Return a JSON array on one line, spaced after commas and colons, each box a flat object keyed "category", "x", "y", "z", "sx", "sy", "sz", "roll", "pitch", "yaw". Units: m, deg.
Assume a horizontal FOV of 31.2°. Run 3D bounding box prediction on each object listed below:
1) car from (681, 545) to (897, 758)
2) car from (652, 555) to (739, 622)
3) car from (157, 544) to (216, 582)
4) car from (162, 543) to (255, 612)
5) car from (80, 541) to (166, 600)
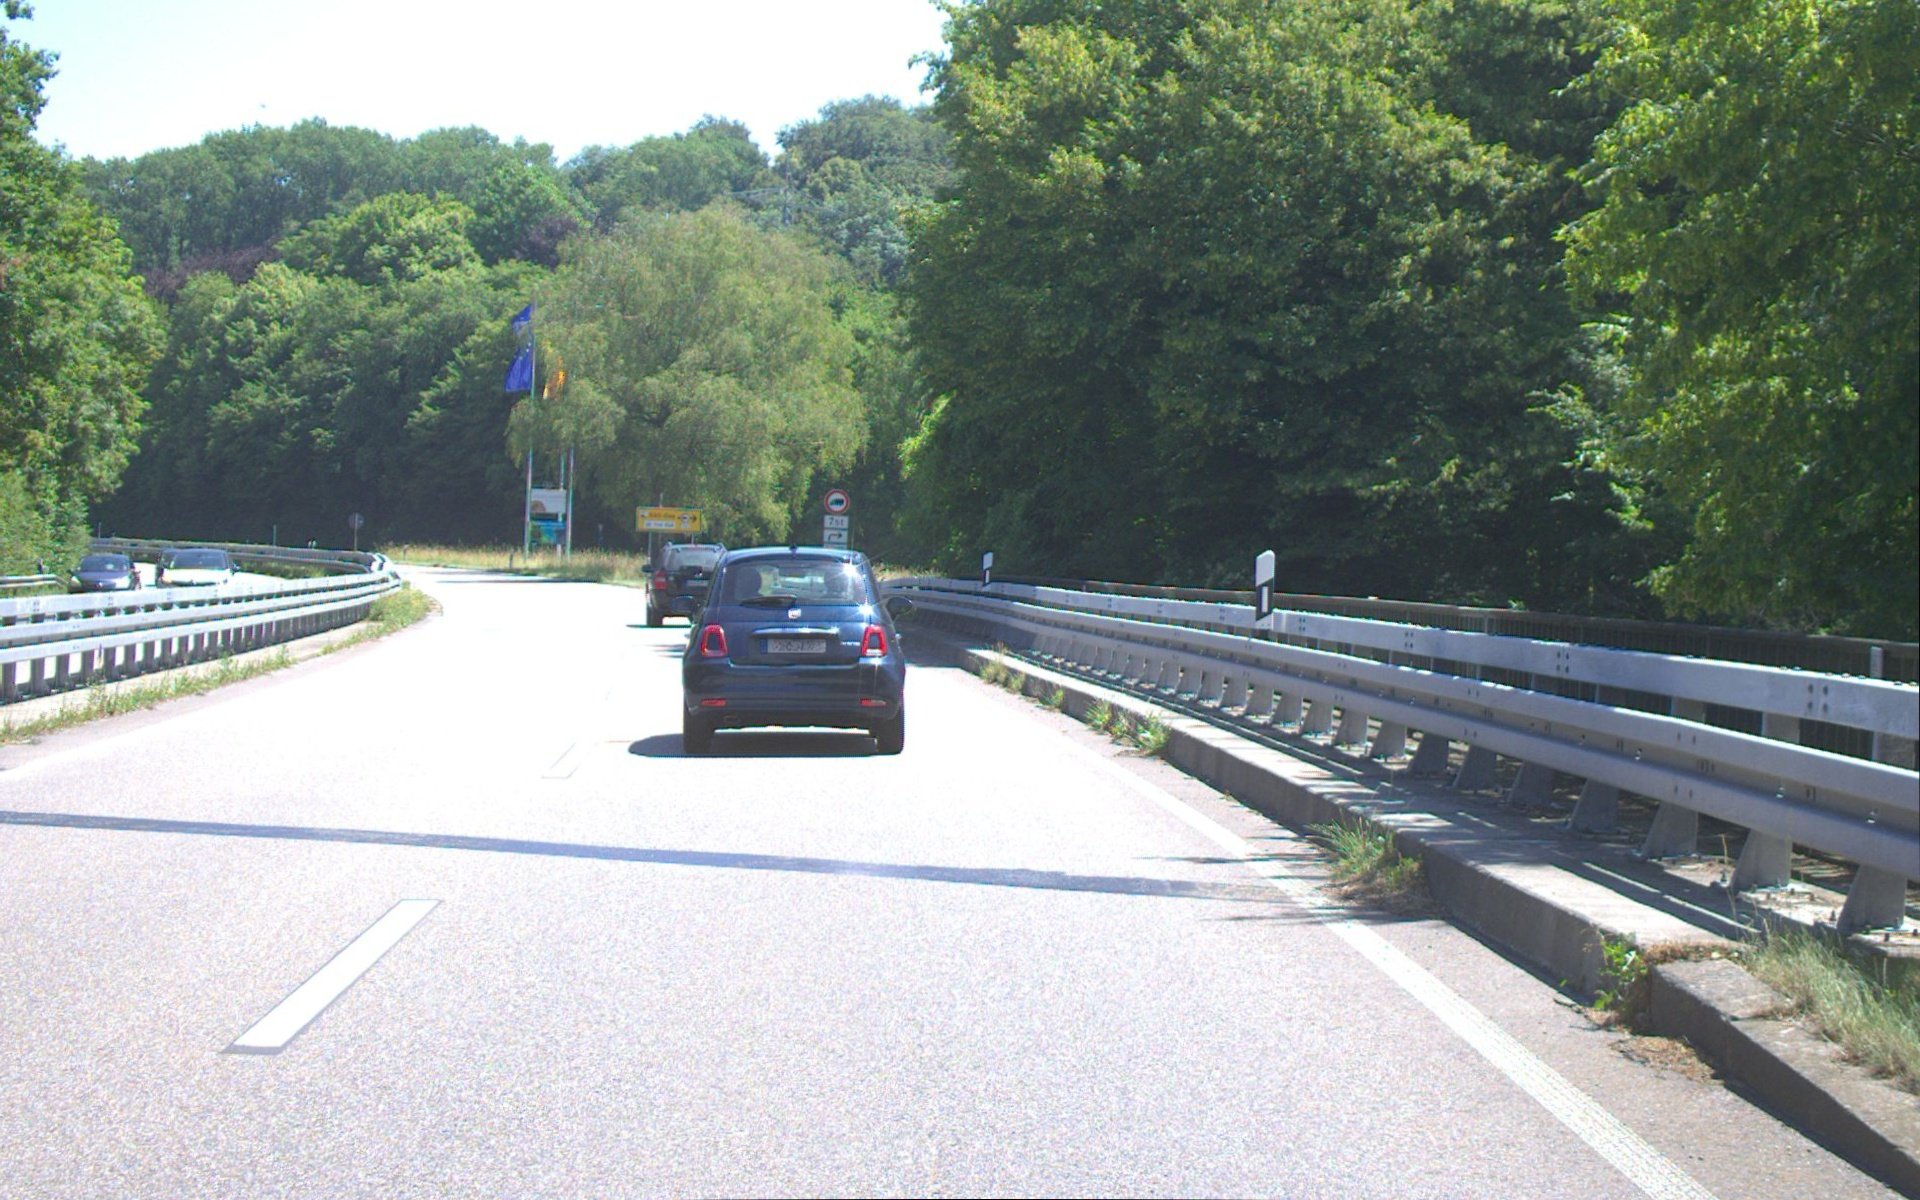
[{"category": "car", "x": -1.233, "y": 0.331, "z": 25.983, "sx": 1.513, "sy": 1.496, "sz": 3.590, "roll": 0, "pitch": 1, "yaw": -1}, {"category": "car", "x": -5.365, "y": -0.243, "z": 69.455, "sx": 1.525, "sy": 1.309, "sz": 3.416, "roll": 0, "pitch": 1, "yaw": -8}, {"category": "car", "x": -31.711, "y": -1.517, "z": 141.069, "sx": 1.755, "sy": 1.523, "sz": 4.685, "roll": 0, "pitch": 1, "yaw": -5}, {"category": "car", "x": -17.733, "y": -0.552, "z": 81.288, "sx": 1.651, "sy": 1.601, "sz": 4.220, "roll": 0, "pitch": 1, "yaw": -5}, {"category": "car", "x": -22.199, "y": -0.806, "z": 91.335, "sx": 1.651, "sy": 1.523, "sz": 3.999, "roll": 0, "pitch": 1, "yaw": -5}]
